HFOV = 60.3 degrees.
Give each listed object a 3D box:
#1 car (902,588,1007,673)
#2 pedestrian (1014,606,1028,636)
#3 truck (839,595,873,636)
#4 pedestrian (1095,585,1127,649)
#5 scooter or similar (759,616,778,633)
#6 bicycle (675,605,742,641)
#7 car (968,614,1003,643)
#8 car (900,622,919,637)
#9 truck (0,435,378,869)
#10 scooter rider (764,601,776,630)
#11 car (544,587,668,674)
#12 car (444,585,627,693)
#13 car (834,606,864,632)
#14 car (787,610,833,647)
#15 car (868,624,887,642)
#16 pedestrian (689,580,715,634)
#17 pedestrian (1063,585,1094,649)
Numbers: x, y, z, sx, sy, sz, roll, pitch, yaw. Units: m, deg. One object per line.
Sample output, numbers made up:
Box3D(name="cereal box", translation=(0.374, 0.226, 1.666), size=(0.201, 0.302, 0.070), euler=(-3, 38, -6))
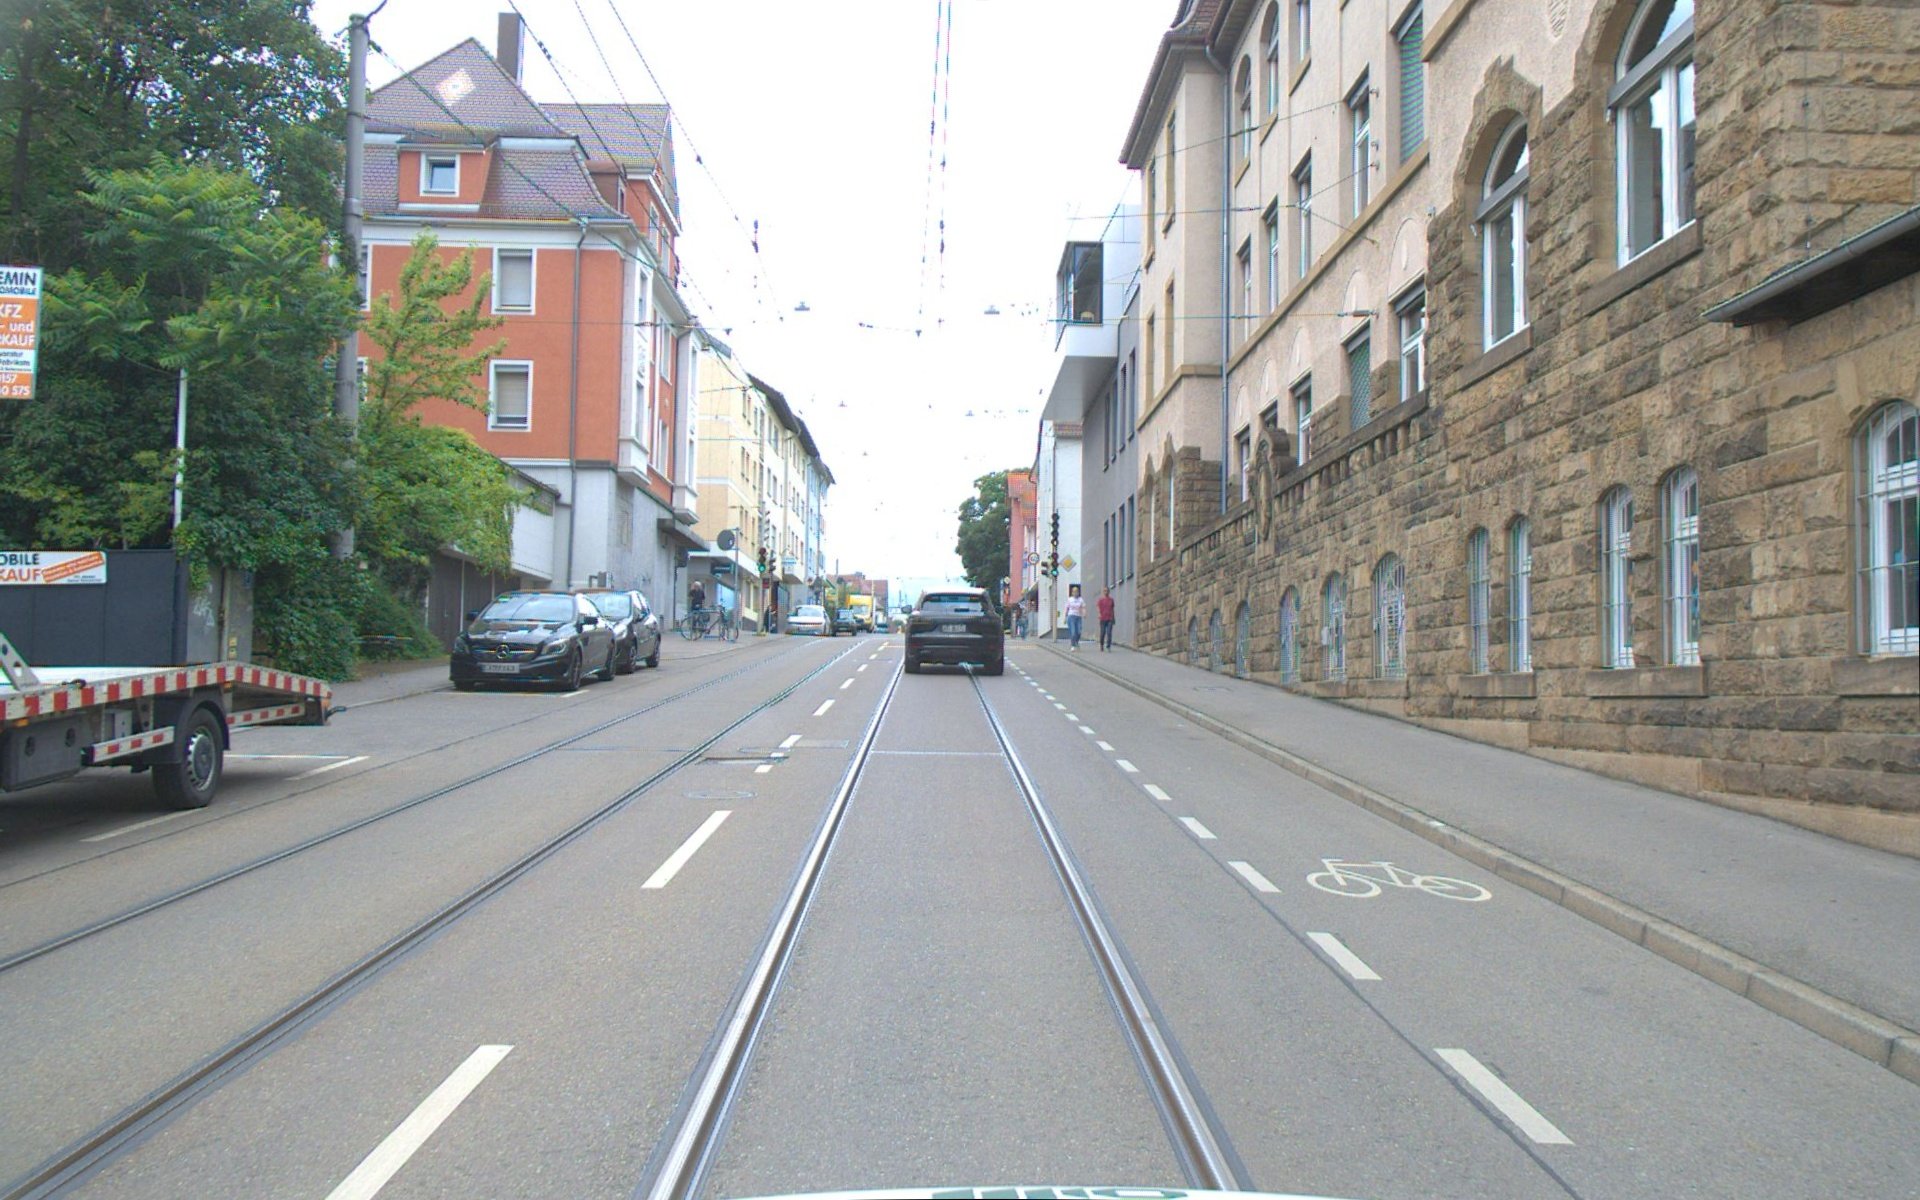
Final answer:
Box3D(name="car", translation=(-0.119, 0.572, 33.532), size=(1.953, 1.590, 4.289), euler=(1, 0, -1))
Box3D(name="pedestrian", translation=(3.561, 1.212, 95.857), size=(0.775, 1.696, 0.799), euler=(1, 0, 1))
Box3D(name="truck", translation=(-8.177, 1.172, 130.920), size=(2.256, 3.090, 9.031), euler=(1, 0, -1))
Box3D(name="pedestrian", translation=(4.064, 0.449, 44.525), size=(0.775, 1.696, 0.799), euler=(1, 0, 1))
Box3D(name="scooter or similar", translation=(-10.772, 1.357, 93.175), size=(1.007, 0.935, 0.472), euler=(1, 0, -6))
Box3D(name="bicycle", translation=(-7.363, 0.683, 48.500), size=(1.872, 1.017, 0.479), euler=(1, 0, -1))
Box3D(name="car", translation=(1.472, 1.646, 96.392), size=(1.953, 1.590, 4.289), euler=(1, 0, -1))
Box3D(name="car", translation=(-5.671, 3.316, 185.919), size=(1.953, 1.590, 4.289), euler=(1, 0, -1))
Box3D(name="truck", translation=(-6.036, 0.248, 9.882), size=(2.233, 2.226, 8.024), euler=(1, 0, 0))
Box3D(name="scooter rider", translation=(-10.718, 0.896, 93.224), size=(0.635, 1.613, 0.765), euler=(1, 0, -5))
Box3D(name="car", translation=(-6.449, 0.523, 30.479), size=(1.484, 1.472, 3.709), euler=(1, 0, -1))
Box3D(name="car", translation=(-6.312, 0.535, 25.082), size=(1.677, 1.472, 4.289), euler=(1, 0, -1))
Box3D(name="car", translation=(-7.419, 1.237, 110.802), size=(1.817, 1.635, 4.296), euler=(1, 0, -1))
Box3D(name="car", translation=(-7.042, 1.332, 78.101), size=(1.817, 1.635, 4.296), euler=(1, 0, -1))
Box3D(name="car", translation=(-8.266, 3.272, 165.739), size=(1.817, 1.635, 4.296), euler=(1, 0, -1))
Box3D(name="pedestrian", translation=(-8.721, 0.242, 55.926), size=(0.759, 1.807, 0.650), euler=(1, 0, 0))
Box3D(name="pedestrian", translation=(3.175, 0.464, 44.518), size=(0.775, 1.696, 0.799), euler=(1, 0, 1))
